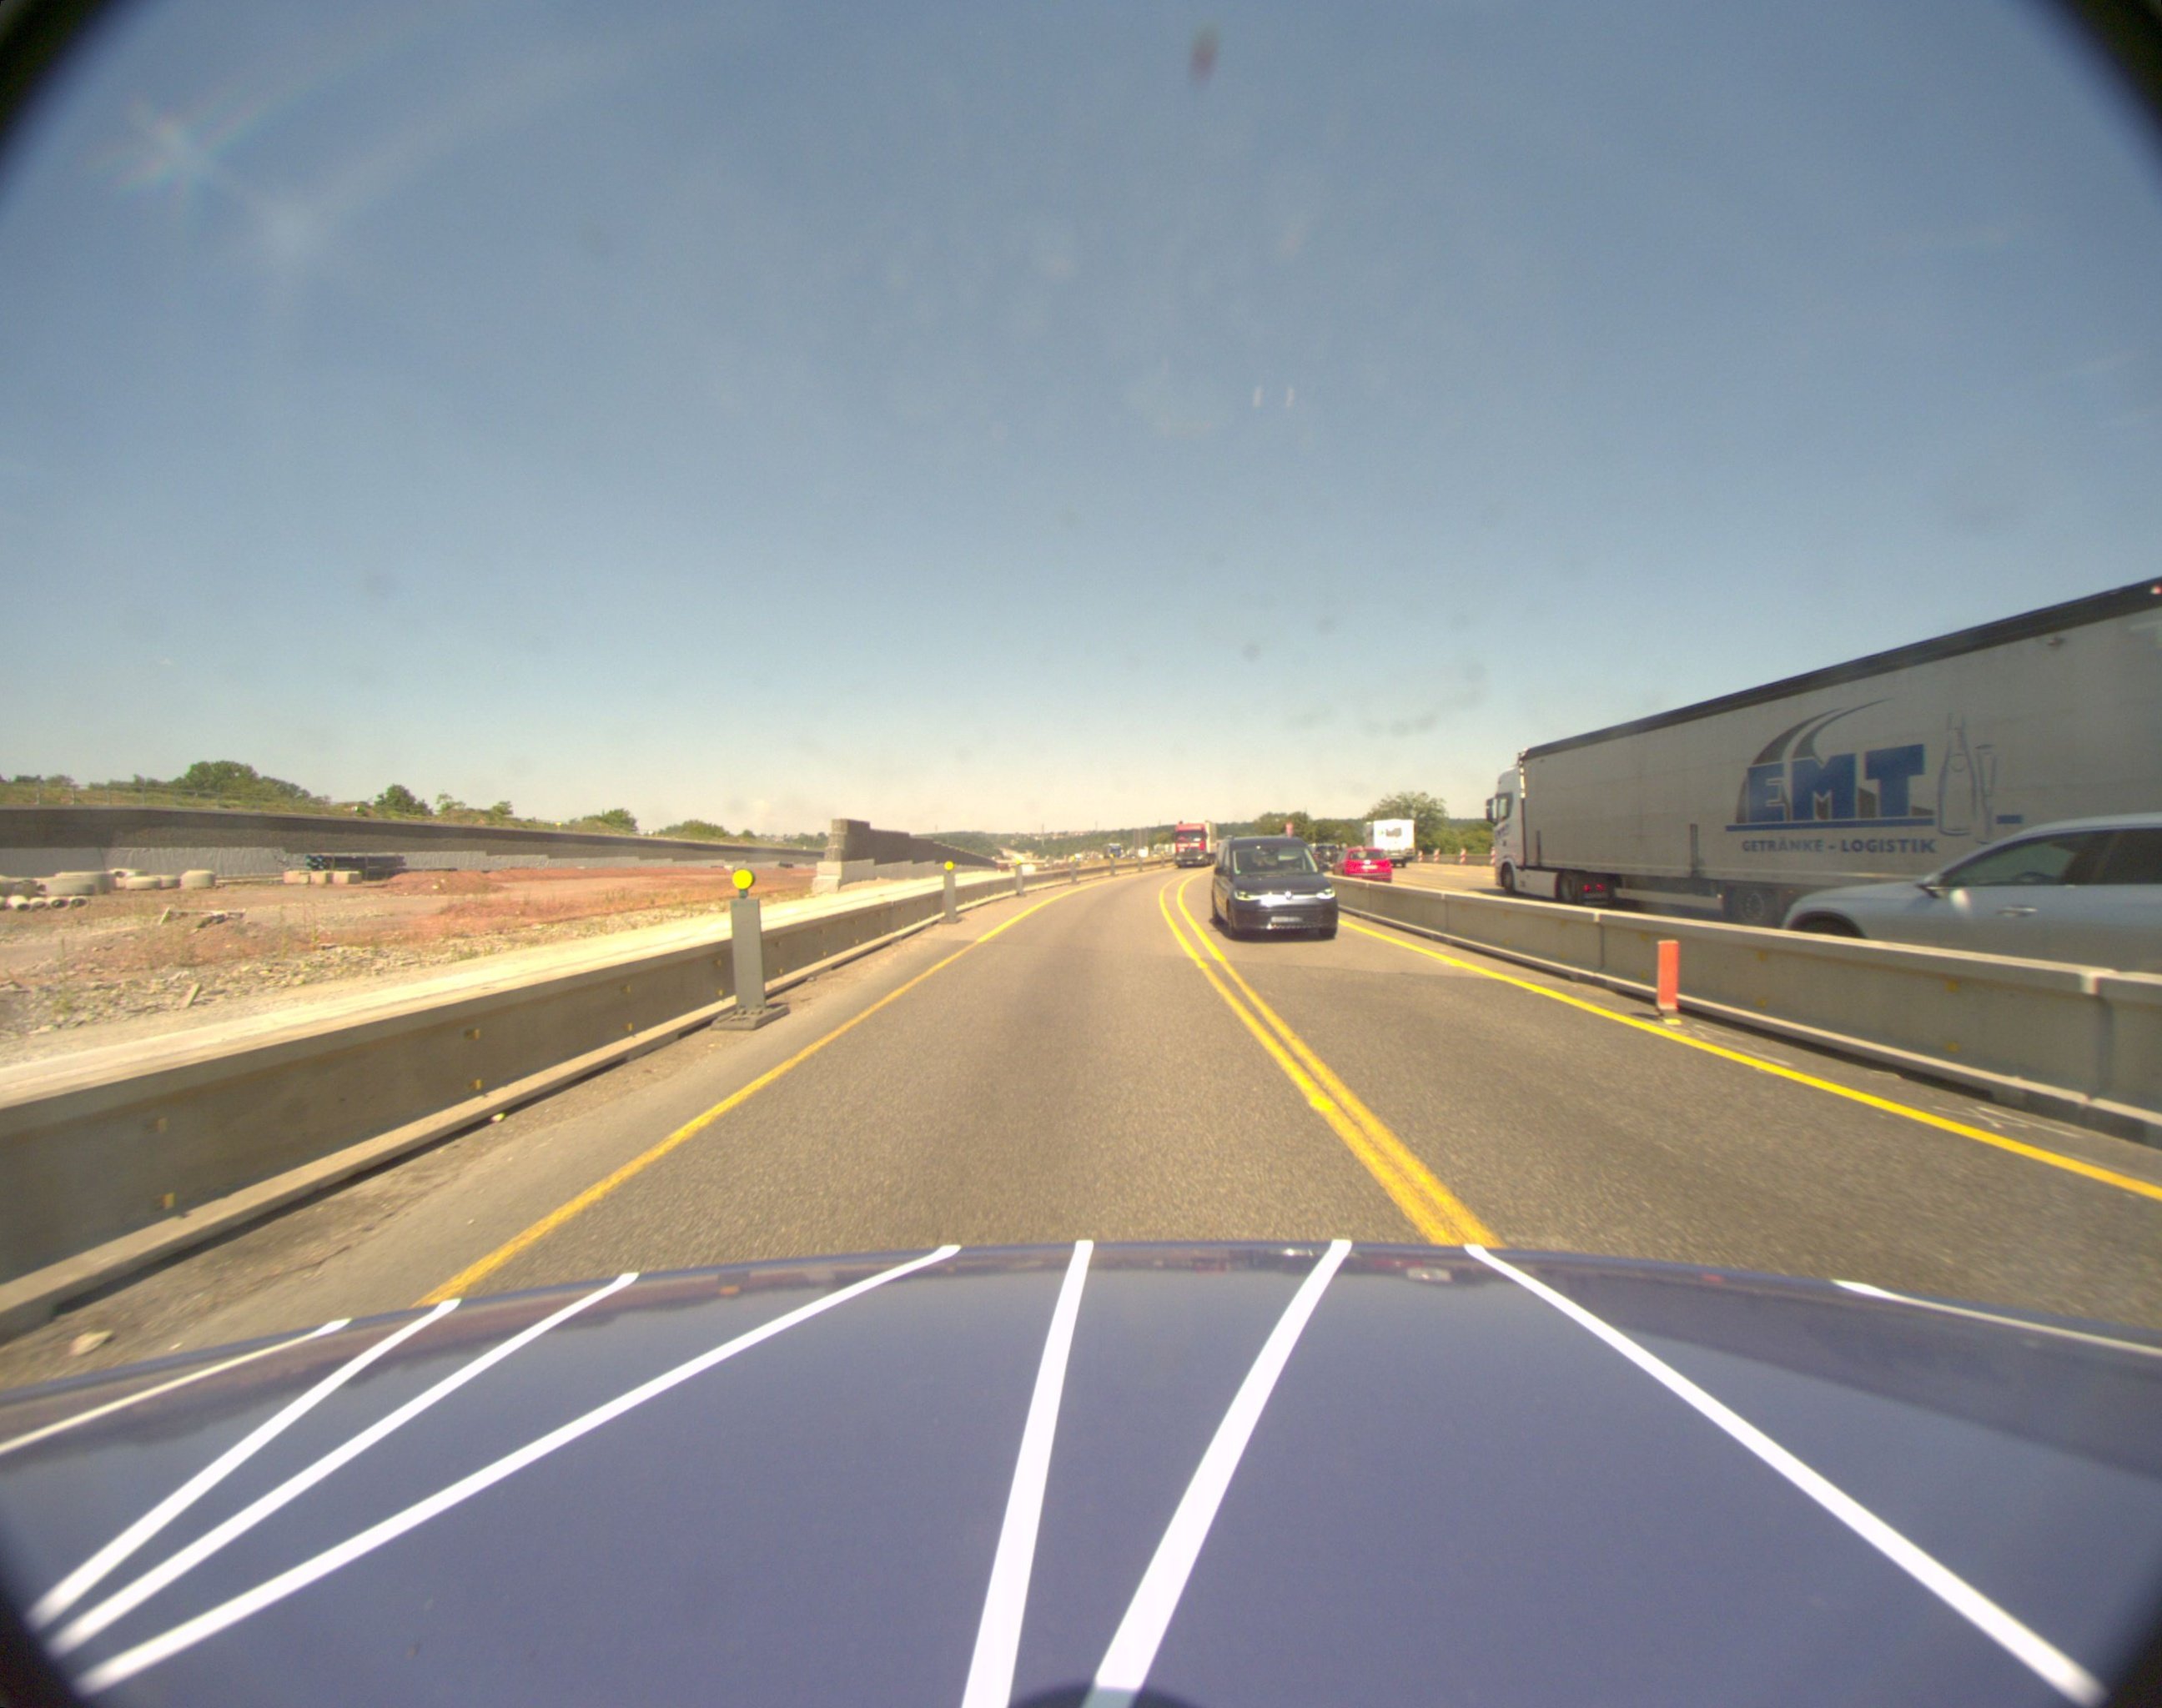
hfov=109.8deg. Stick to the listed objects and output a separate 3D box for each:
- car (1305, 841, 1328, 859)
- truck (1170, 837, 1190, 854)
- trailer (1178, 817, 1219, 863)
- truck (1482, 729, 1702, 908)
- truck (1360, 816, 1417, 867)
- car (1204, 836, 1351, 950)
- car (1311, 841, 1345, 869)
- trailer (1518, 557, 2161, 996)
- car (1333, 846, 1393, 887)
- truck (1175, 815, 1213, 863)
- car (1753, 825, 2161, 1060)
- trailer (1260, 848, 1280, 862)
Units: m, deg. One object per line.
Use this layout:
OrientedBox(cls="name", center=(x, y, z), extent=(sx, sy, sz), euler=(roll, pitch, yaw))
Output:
OrientedBox(cls="car", center=(26.522, -0.422, 85.690), extent=(1.869, 1.942, 4.895), euler=(-1, 0, 9))
OrientedBox(cls="truck", center=(19.737, -1.704, 151.617), extent=(2.586, 3.361, 6.924), euler=(-1, 0, -5))
OrientedBox(cls="trailer", center=(11.202, -1.237, 71.195), extent=(2.698, 3.852, 12.435), euler=(-1, 0, 14))
OrientedBox(cls="truck", center=(13.072, -0.805, 20.054), extent=(2.706, 4.038, 5.504), euler=(-1, 0, 9))
OrientedBox(cls="truck", center=(19.900, -0.769, 49.476), extent=(2.445, 3.054, 7.255), euler=(-1, 0, 14))
OrientedBox(cls="car", center=(3.523, 0.612, 14.495), extent=(1.925, 1.779, 4.604), euler=(-2, 1, 5))
OrientedBox(cls="car", center=(14.802, 0.065, 45.701), extent=(1.662, 1.596, 4.401), euler=(-1, 0, 14))
OrientedBox(cls="trailer", center=(12.225, -0.773, 13.232), extent=(2.765, 4.090, 13.984), euler=(-1, 0, 7))
OrientedBox(cls="car", center=(10.794, 0.446, 29.284), extent=(1.671, 1.467, 3.974), euler=(-1, 0, 13))
OrientedBox(cls="truck", center=(9.718, -1.227, 64.901), extent=(2.624, 3.880, 4.939), euler=(-1, 1, 15))
OrientedBox(cls="car", center=(7.685, 0.536, 5.407), extent=(1.799, 1.467, 4.778), euler=(-1, 0, 4))
OrientedBox(cls="trailer", center=(26.802, 0.114, 107.838), extent=(1.870, 2.010, 4.436), euler=(-1, 0, 2))
